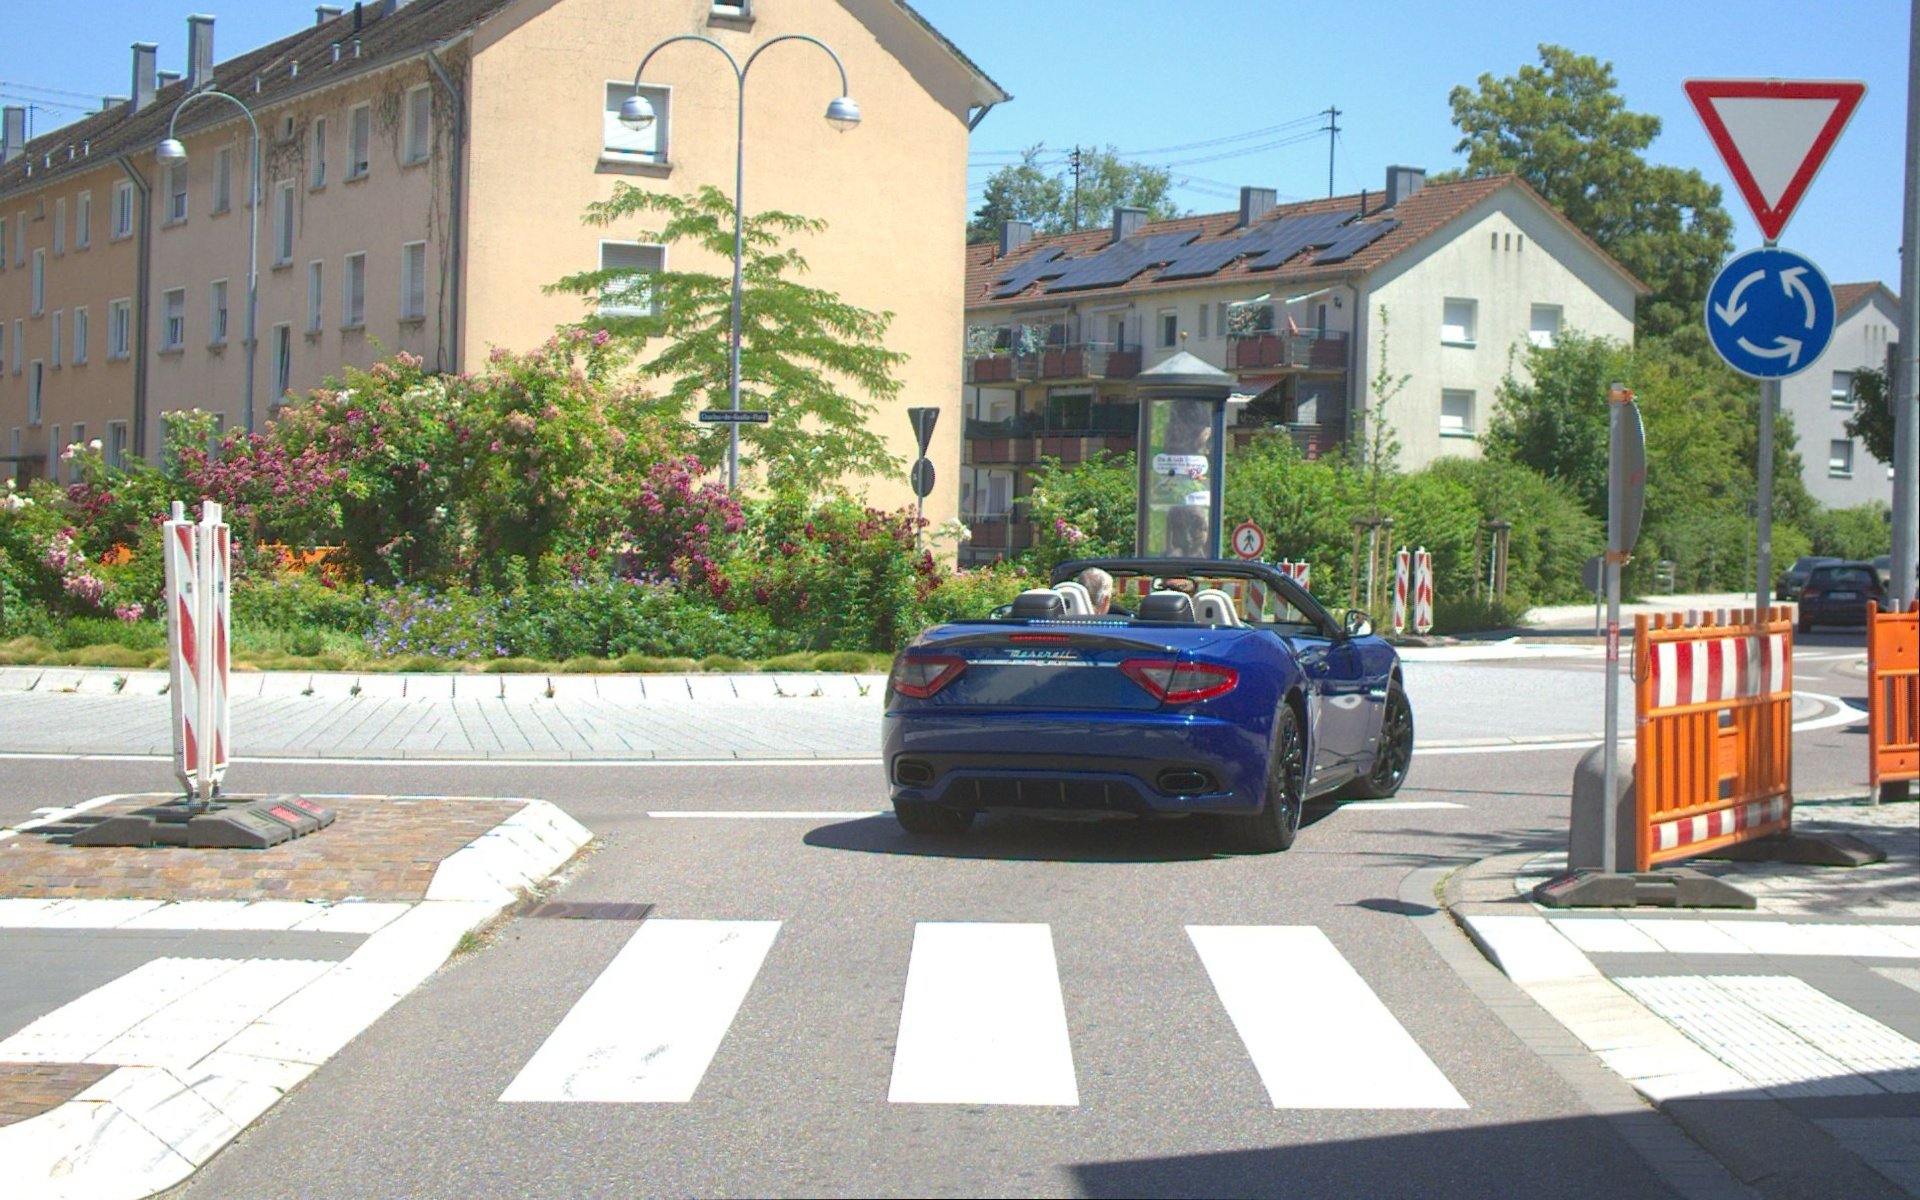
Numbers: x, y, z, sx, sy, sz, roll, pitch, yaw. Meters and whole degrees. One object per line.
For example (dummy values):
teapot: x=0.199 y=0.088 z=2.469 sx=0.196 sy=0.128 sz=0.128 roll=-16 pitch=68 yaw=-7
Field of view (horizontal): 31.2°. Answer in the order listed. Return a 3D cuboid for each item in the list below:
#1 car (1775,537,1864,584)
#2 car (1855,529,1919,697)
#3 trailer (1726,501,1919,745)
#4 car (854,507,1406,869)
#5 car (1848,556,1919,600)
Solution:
car: x=26.691 y=-1.231 z=106.721 sx=1.741 sy=1.431 sz=3.704 roll=1 pitch=1 yaw=30
car: x=9.111 y=0.094 z=30.222 sx=1.739 sy=1.431 sz=3.710 roll=0 pitch=1 yaw=4
trailer: x=7.515 y=0.134 z=25.582 sx=3.187 sy=1.711 sz=1.757 roll=0 pitch=1 yaw=-30
car: x=1.014 y=0.400 z=17.346 sx=1.872 sy=1.525 sz=4.503 roll=2 pitch=0 yaw=14
car: x=31.770 y=-0.766 z=117.731 sx=1.741 sy=1.431 sz=3.704 roll=1 pitch=1 yaw=30
